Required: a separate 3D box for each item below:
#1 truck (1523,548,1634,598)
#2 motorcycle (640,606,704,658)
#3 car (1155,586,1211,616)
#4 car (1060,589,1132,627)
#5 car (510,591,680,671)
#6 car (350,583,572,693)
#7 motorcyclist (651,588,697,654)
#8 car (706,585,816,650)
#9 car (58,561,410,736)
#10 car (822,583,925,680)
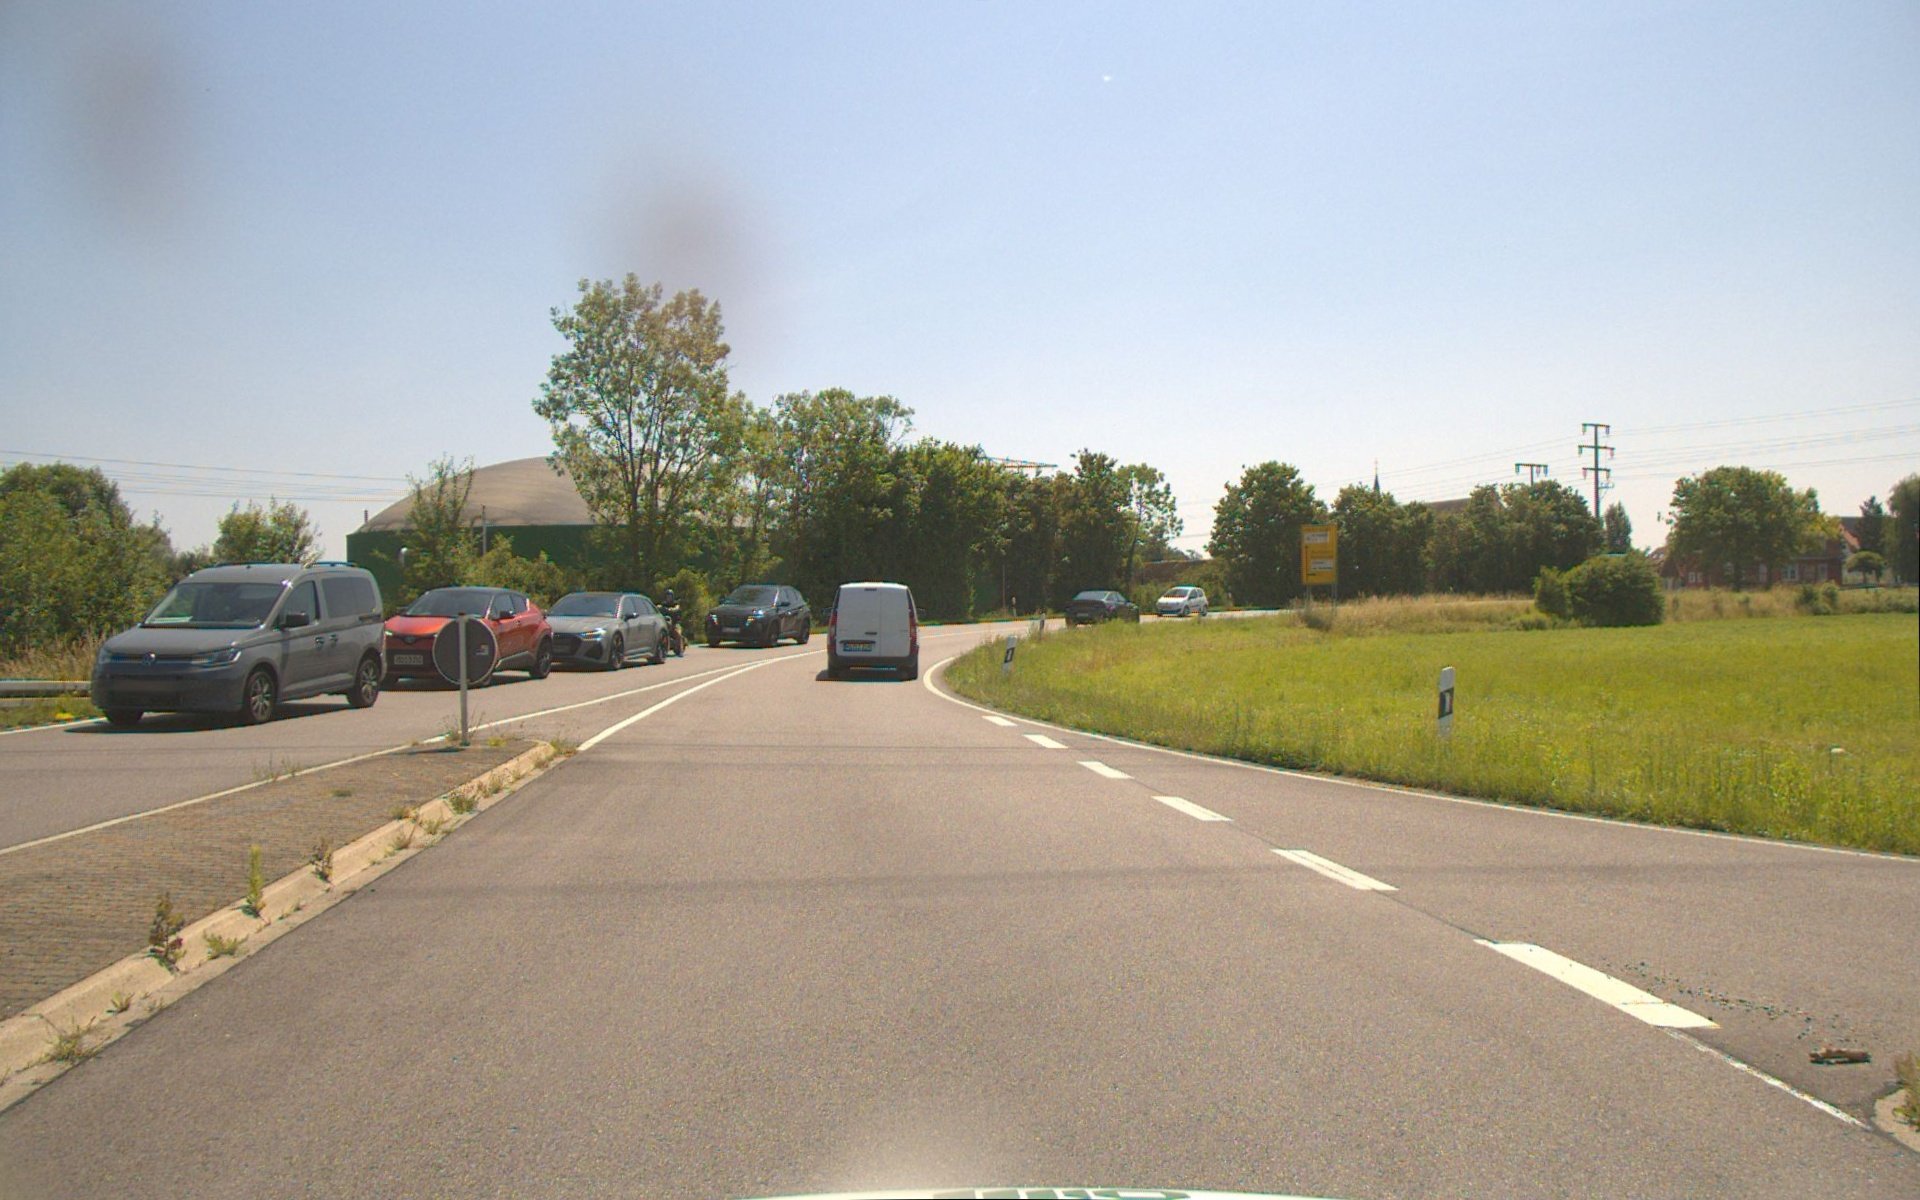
[{"bbox_3d":[42.385,-1.810,113.161,8.713,3.192,3.066,1,-1,-39],"label":"truck"},{"bbox_3d":[-6.678,0.729,38.465,0.765,1.143,2.431,1,0,7],"label":"motorcycle"},{"bbox_3d":[11.477,0.076,84.880,1.508,1.468,3.599,2,0,31],"label":"car"},{"bbox_3d":[5.450,0.321,65.932,1.685,1.445,3.742,-1,-1,25],"label":"car"},{"bbox_3d":[-7.218,0.597,33.198,1.802,1.485,4.812,0,0,7],"label":"car"},{"bbox_3d":[-8.052,0.587,27.149,1.761,1.542,4.395,4,0,7],"label":"car"},{"bbox_3d":[-6.661,0.484,38.524,0.764,1.521,1.131,0,0,7],"label":"motorcyclist"},{"bbox_3d":[-5.359,0.430,45.097,1.665,1.666,4.253,1,1,12],"label":"car"},{"bbox_3d":[-8.617,0.496,20.128,1.885,1.864,4.442,1,1,7],"label":"car"},{"bbox_3d":[-1.715,0.598,32.448,1.866,1.763,3.819,-1,-1,-4],"label":"car"}]
